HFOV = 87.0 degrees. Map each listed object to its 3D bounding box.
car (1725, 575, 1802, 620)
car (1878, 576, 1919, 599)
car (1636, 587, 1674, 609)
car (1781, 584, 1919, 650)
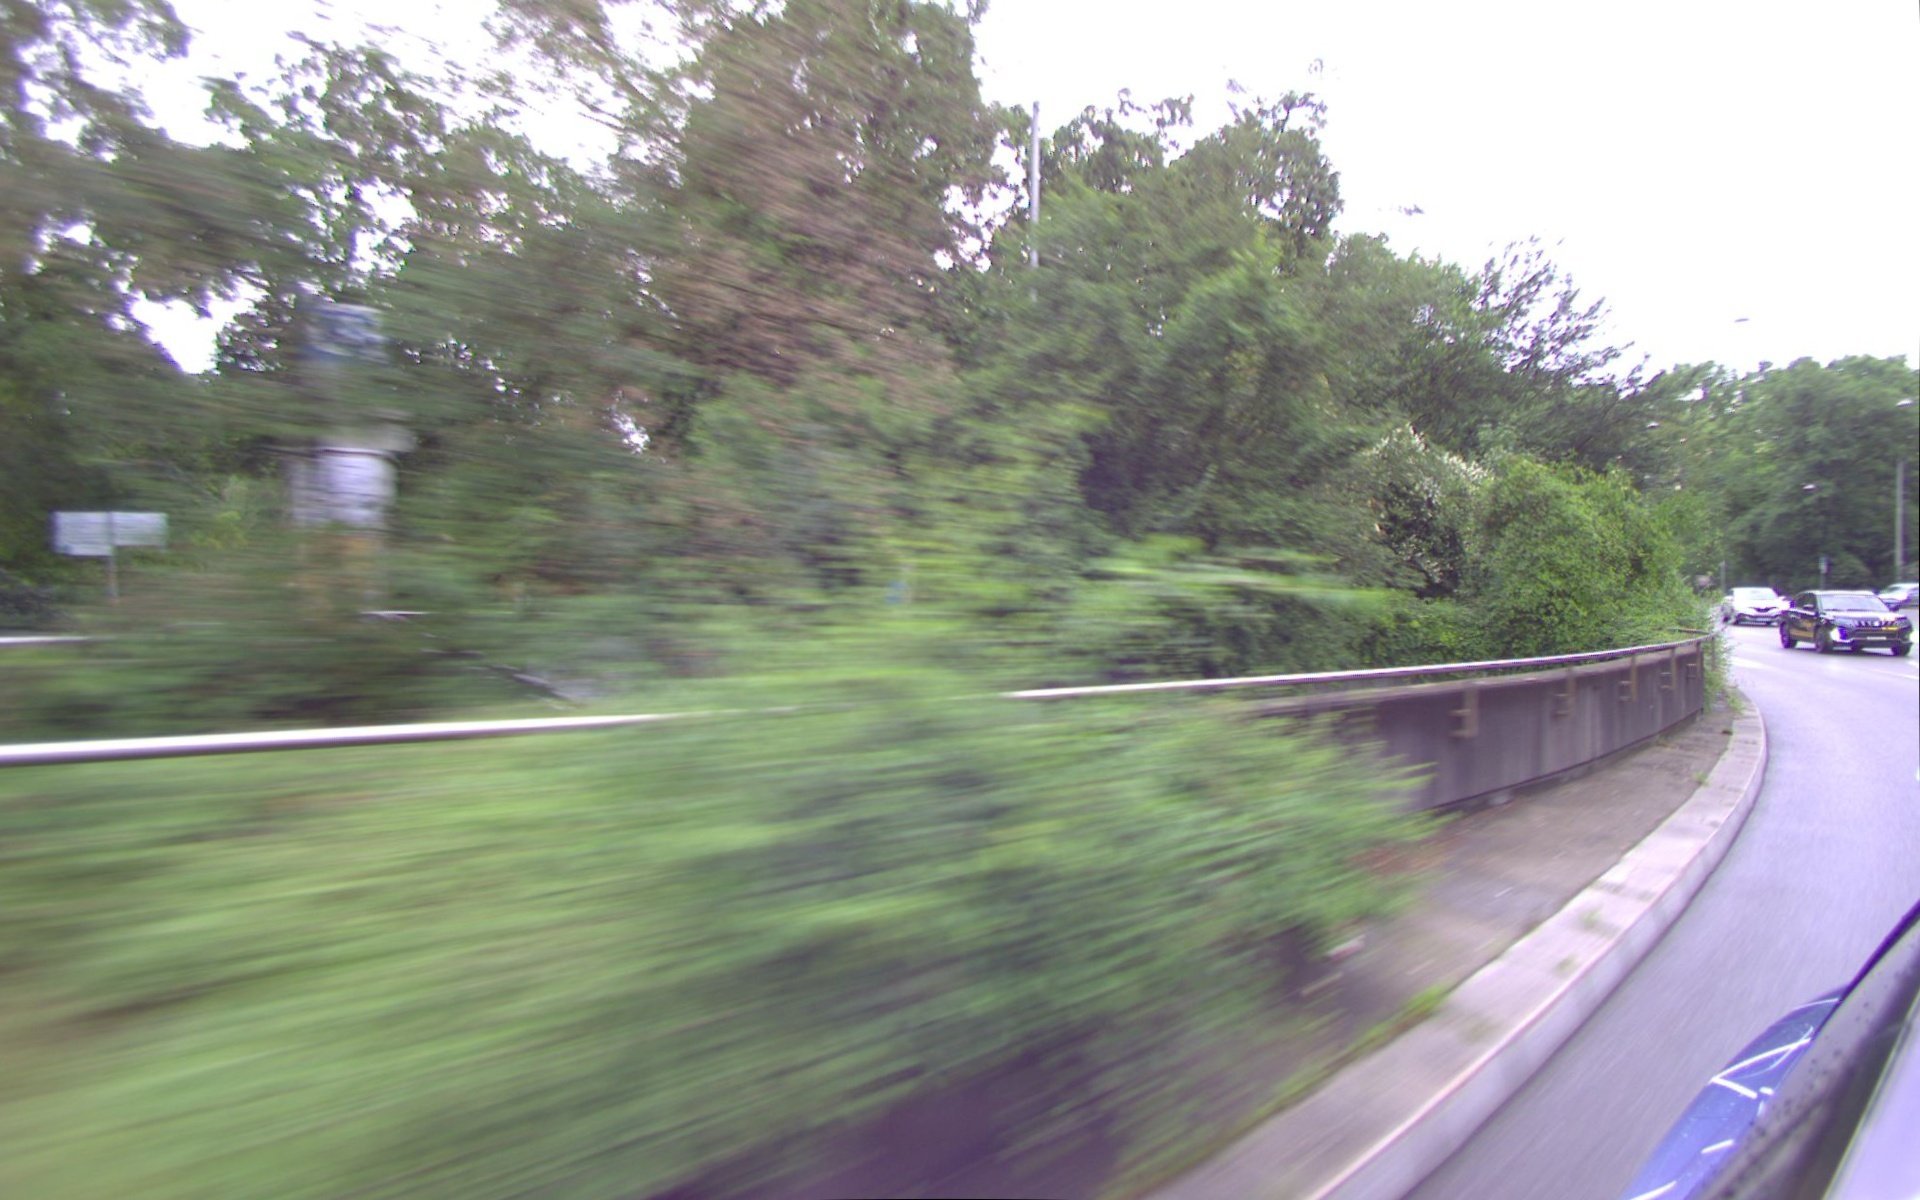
[{"bbox_3d":[34.349,-0.175,43.383,1.984,1.766,4.604,1,2,31],"label":"car"},{"bbox_3d":[69.137,-0.930,73.151,4.409,1.561,2.220,-1,2,-19],"label":"car"},{"bbox_3d":[46.520,-0.143,67.728,3.057,1.349,1.578,-2,3,-45],"label":"car"},{"bbox_3d":[23.282,0.373,26.337,1.910,1.560,3.969,0,1,23],"label":"car"}]
